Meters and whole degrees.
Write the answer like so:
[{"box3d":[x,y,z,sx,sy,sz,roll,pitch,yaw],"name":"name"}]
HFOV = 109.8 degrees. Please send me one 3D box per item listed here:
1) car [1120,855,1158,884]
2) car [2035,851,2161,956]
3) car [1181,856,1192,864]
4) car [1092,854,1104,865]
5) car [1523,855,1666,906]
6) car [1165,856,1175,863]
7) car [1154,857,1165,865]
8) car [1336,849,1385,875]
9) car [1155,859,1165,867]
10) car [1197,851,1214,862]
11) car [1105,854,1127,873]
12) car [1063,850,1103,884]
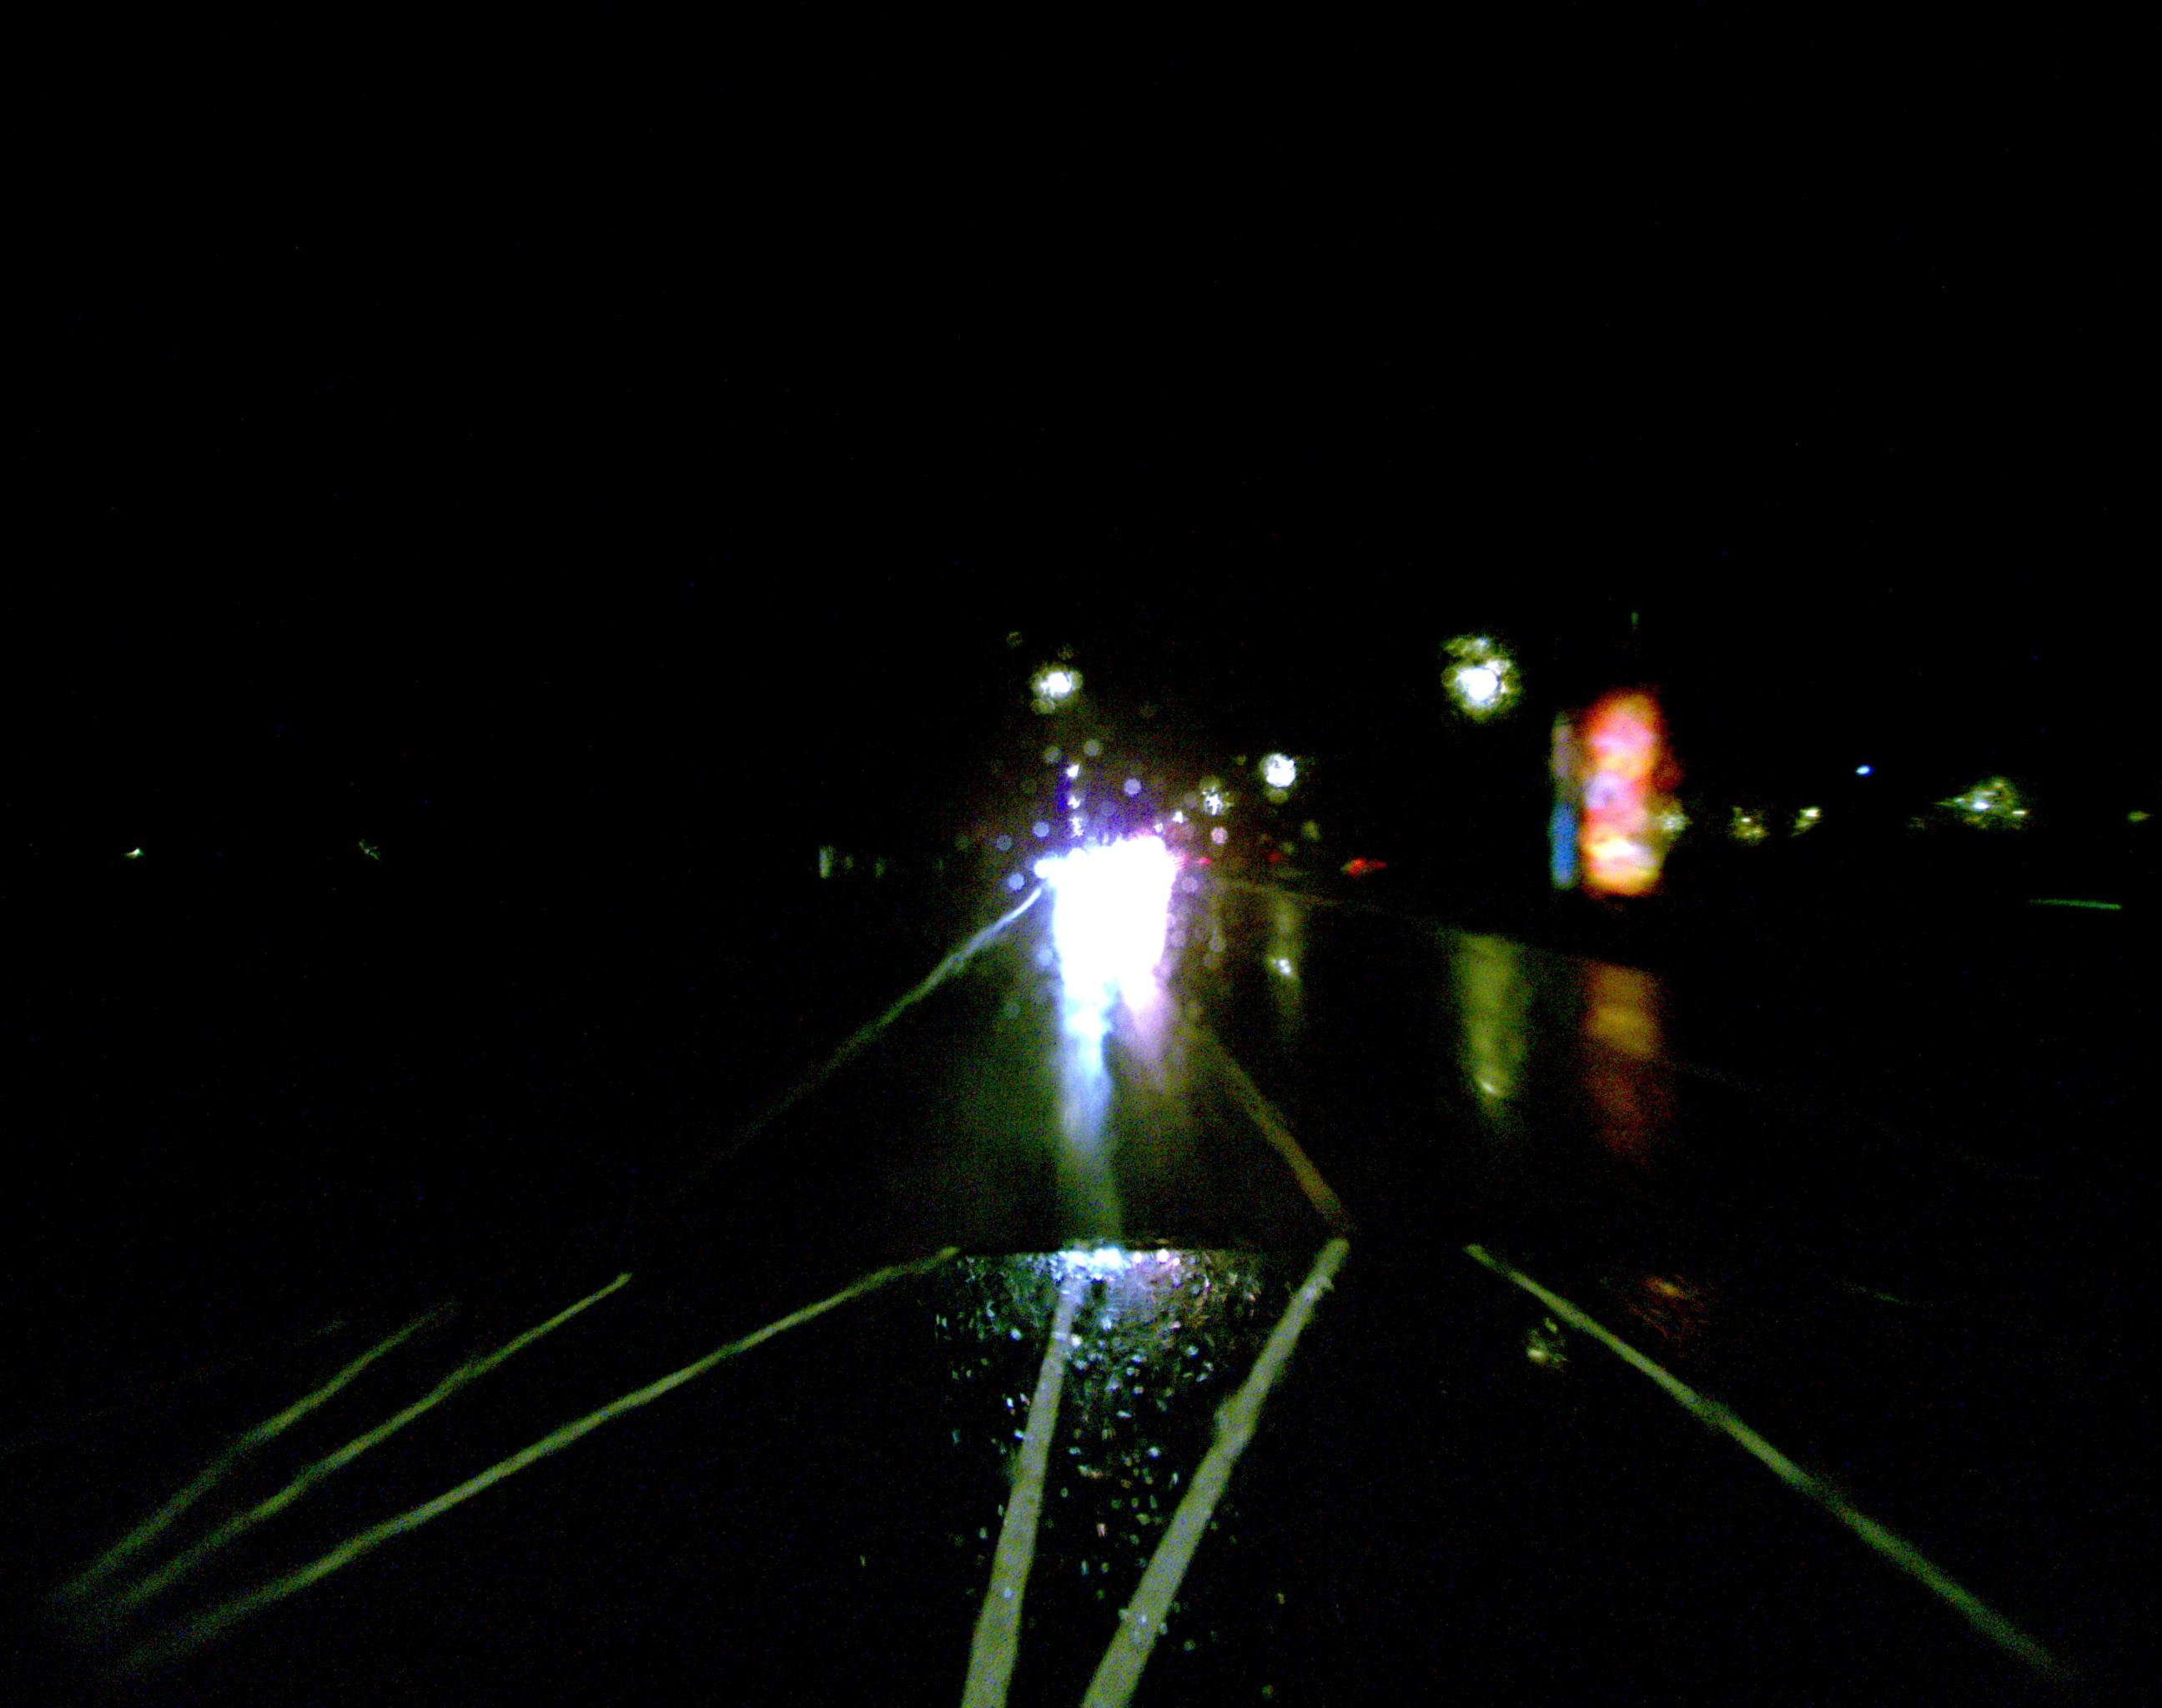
[{"box3d":[3.281,0.846,43.644,1.833,1.518,4.874,-2,0,1],"name":"car"},{"box3d":[16.347,0.703,9.927,1.834,1.455,4.658,-2,0,-1],"name":"car"},{"box3d":[21.229,1.264,152.983,1.847,1.583,4.366,-2,0,2],"name":"car"},{"box3d":[2.694,0.837,120.965,1.833,1.696,3.948,-2,0,1],"name":"car"},{"box3d":[16.478,0.791,24.660,1.834,1.455,3.999,-2,0,-2],"name":"car"},{"box3d":[20.803,1.280,178.116,1.847,1.583,4.366,-2,0,2],"name":"car"},{"box3d":[16.006,1.386,155.558,1.847,1.477,4.366,-2,0,2],"name":"car"},{"box3d":[19.650,0.540,53.618,1.834,1.703,4.441,-2,0,0],"name":"car"},{"box3d":[17.812,2.013,171.820,1.847,1.583,4.366,-2,0,2],"name":"car"},{"box3d":[20.318,0.409,124.048,2.029,1.674,4.548,-2,0,0],"name":"car"},{"box3d":[3.140,0.847,69.702,1.833,1.696,4.194,-2,0,1],"name":"car"},{"box3d":[0.128,0.666,40.816,1.950,1.709,4.442,-2,0,1],"name":"car"}]
